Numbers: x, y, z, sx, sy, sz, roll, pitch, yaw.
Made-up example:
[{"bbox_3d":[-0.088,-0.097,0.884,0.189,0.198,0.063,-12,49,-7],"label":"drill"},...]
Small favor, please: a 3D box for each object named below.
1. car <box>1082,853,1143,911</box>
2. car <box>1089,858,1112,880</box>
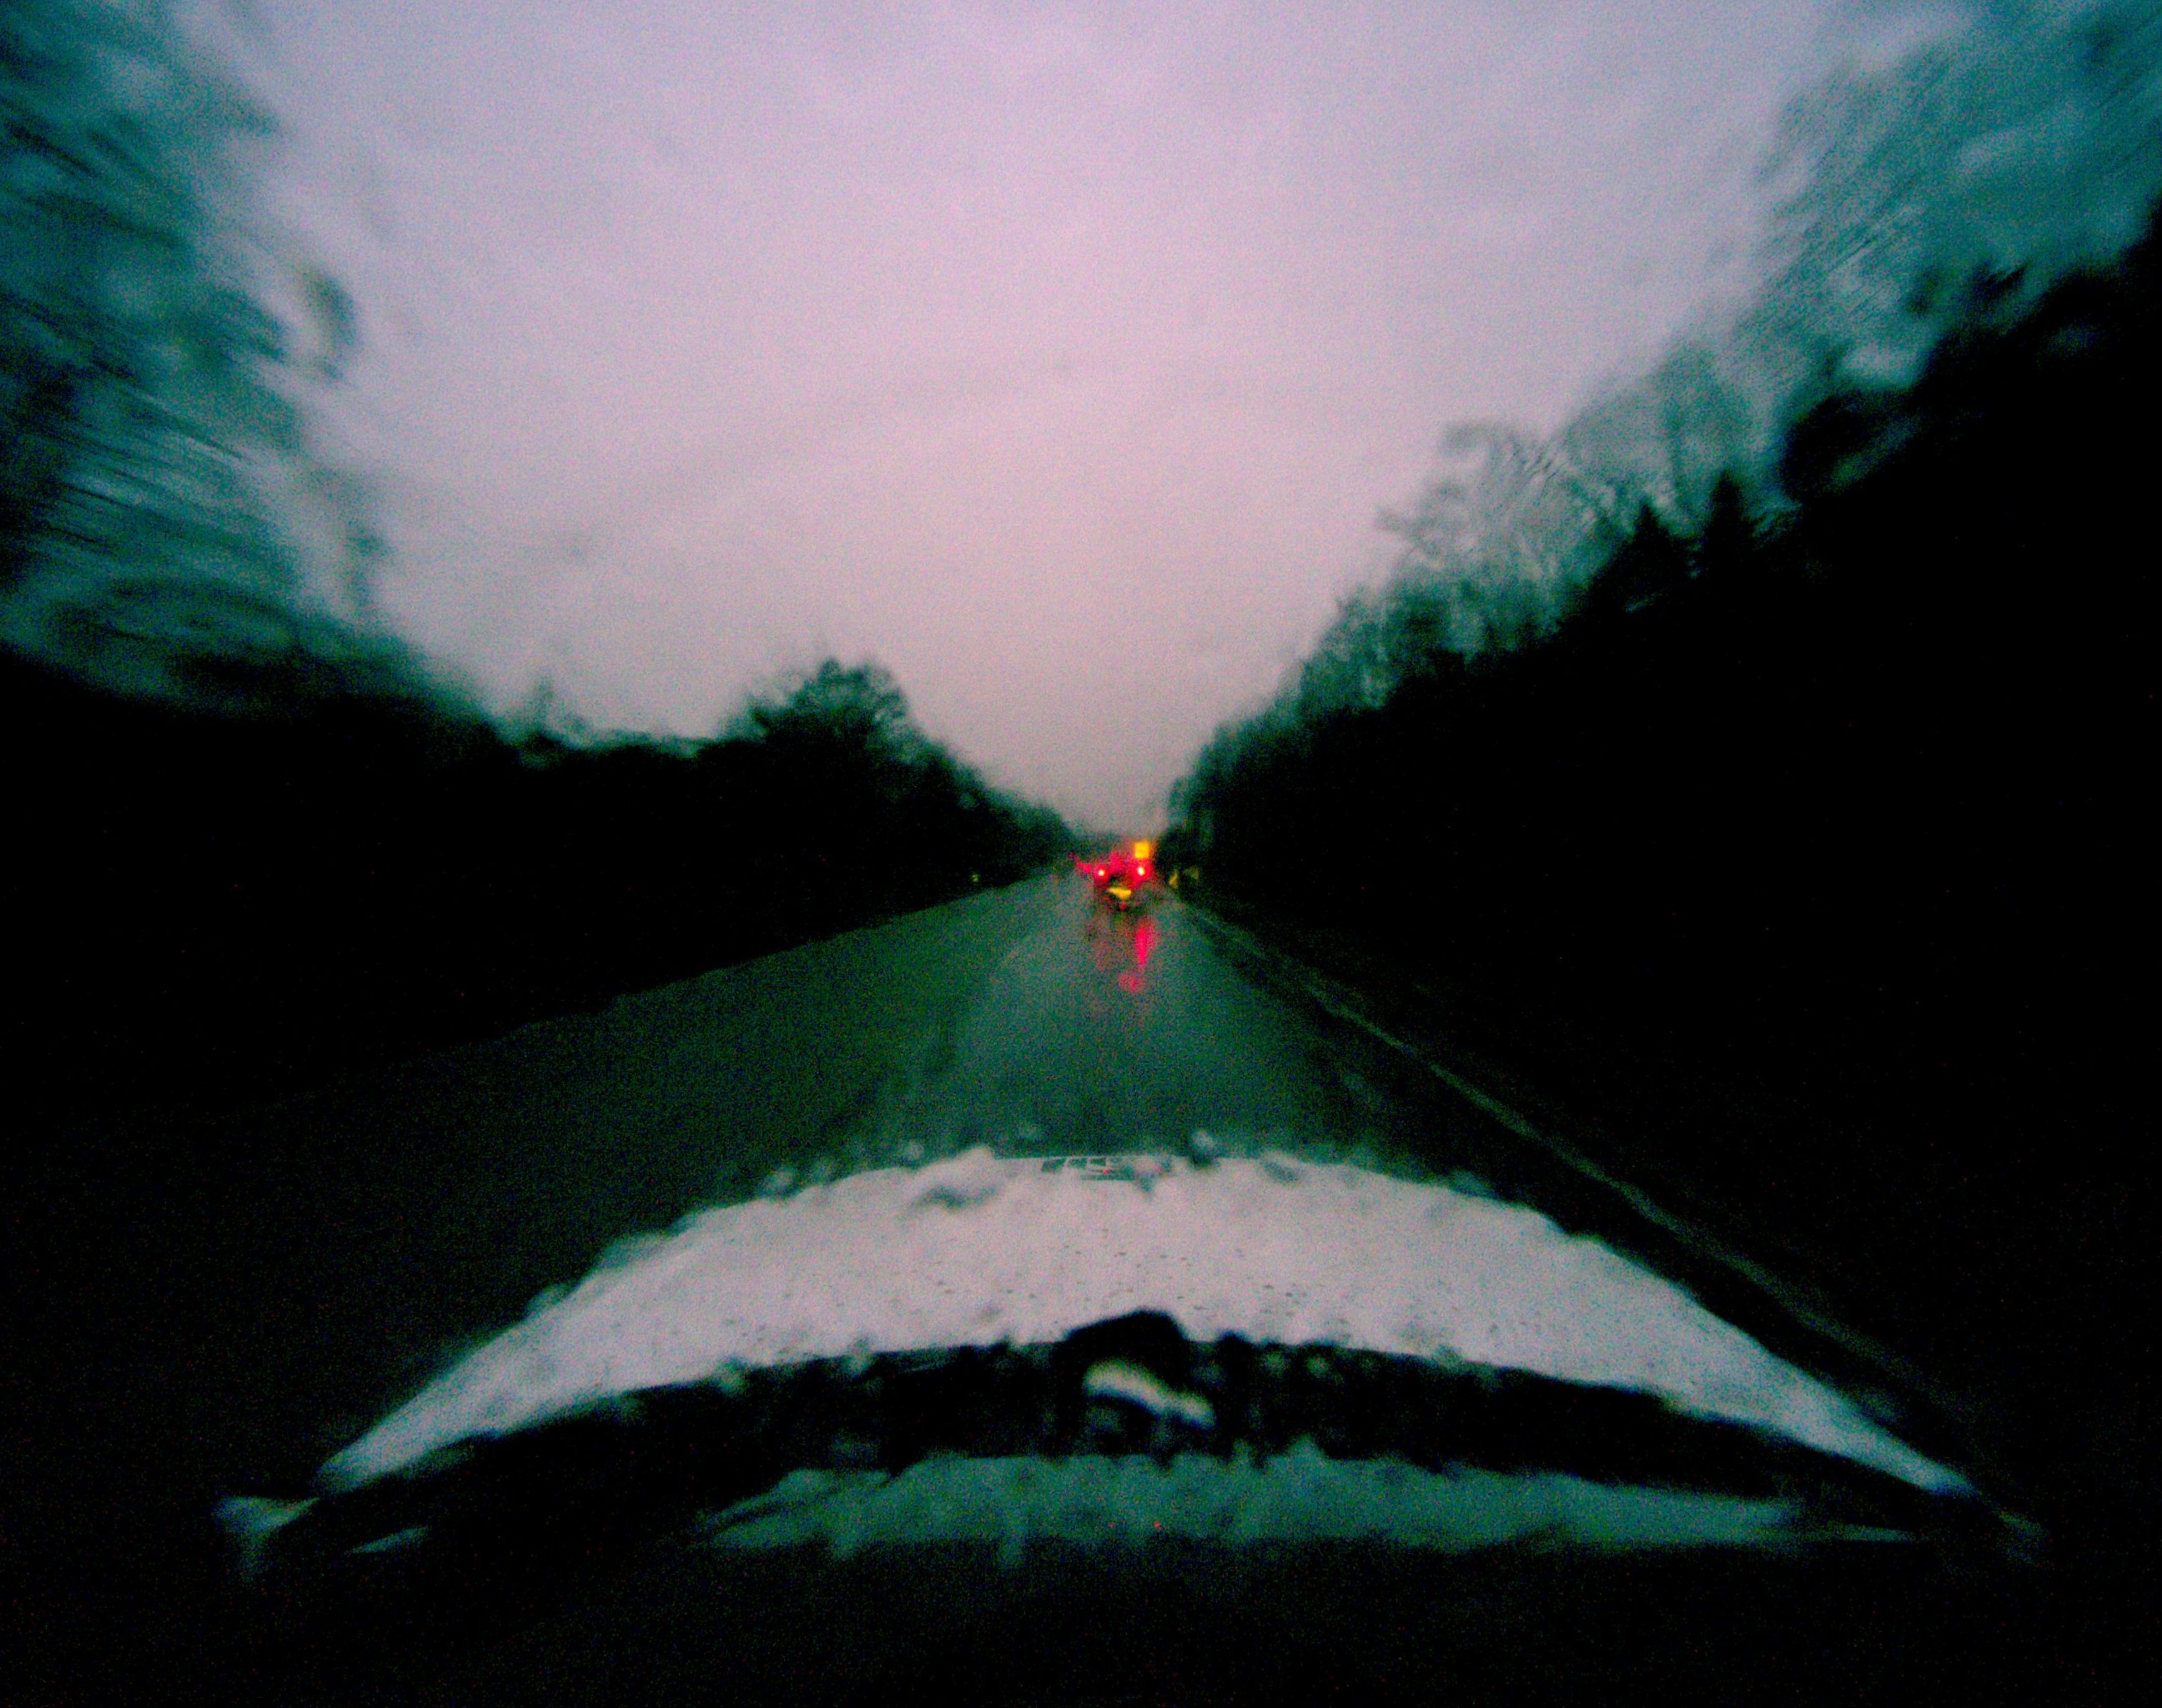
[{"bbox_3d":[1.030,0.830,25.537,1.720,1.643,4.003,-1,0,3],"label":"car"},{"bbox_3d":[1.571,1.134,64.476,1.720,1.643,4.003,-1,0,3],"label":"car"}]
